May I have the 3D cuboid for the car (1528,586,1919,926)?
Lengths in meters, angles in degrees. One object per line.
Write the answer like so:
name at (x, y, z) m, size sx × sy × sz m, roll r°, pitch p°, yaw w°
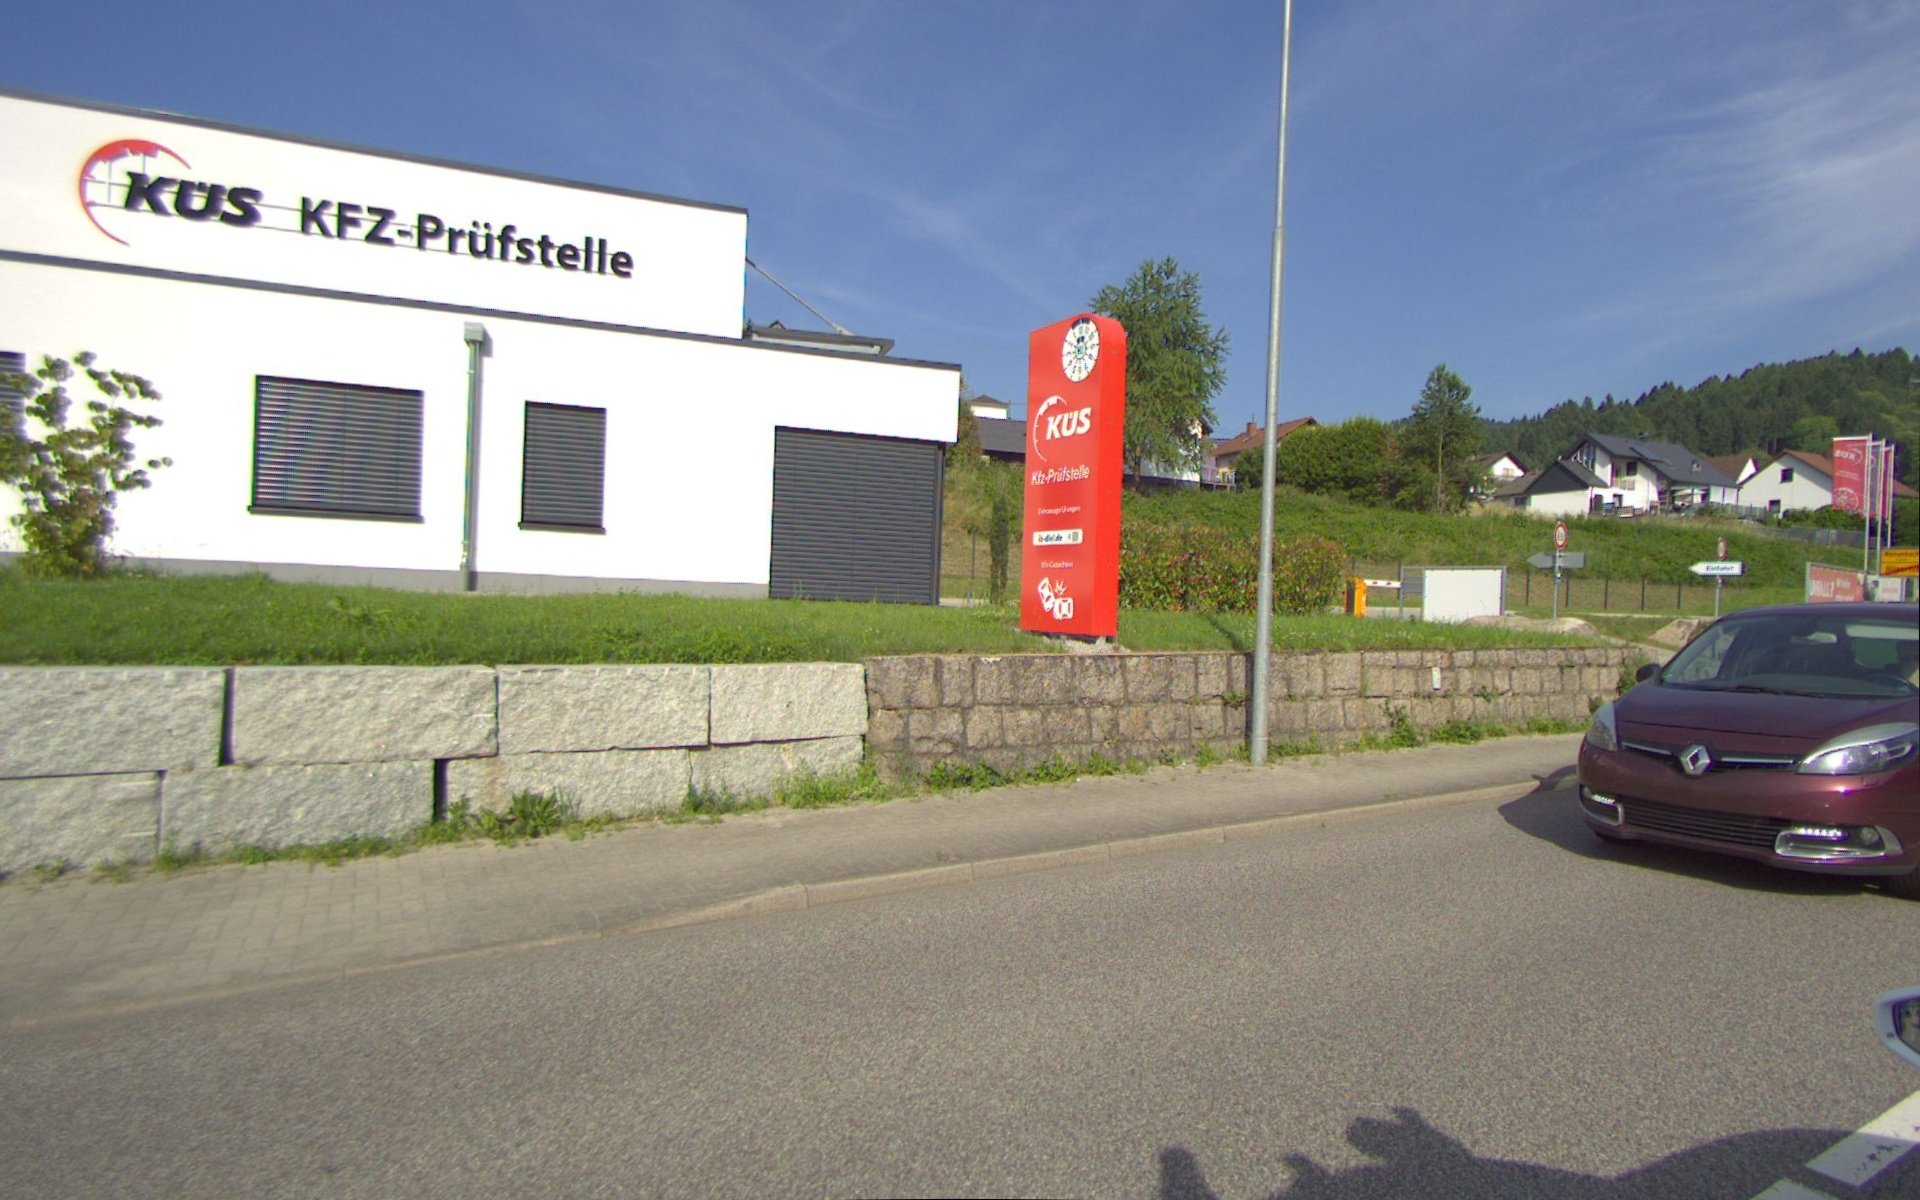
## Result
car at (5.965, 0.780, 6.735) m, size 4.409 × 1.640 × 1.788 m, roll 1°, pitch 0°, yaw -30°
